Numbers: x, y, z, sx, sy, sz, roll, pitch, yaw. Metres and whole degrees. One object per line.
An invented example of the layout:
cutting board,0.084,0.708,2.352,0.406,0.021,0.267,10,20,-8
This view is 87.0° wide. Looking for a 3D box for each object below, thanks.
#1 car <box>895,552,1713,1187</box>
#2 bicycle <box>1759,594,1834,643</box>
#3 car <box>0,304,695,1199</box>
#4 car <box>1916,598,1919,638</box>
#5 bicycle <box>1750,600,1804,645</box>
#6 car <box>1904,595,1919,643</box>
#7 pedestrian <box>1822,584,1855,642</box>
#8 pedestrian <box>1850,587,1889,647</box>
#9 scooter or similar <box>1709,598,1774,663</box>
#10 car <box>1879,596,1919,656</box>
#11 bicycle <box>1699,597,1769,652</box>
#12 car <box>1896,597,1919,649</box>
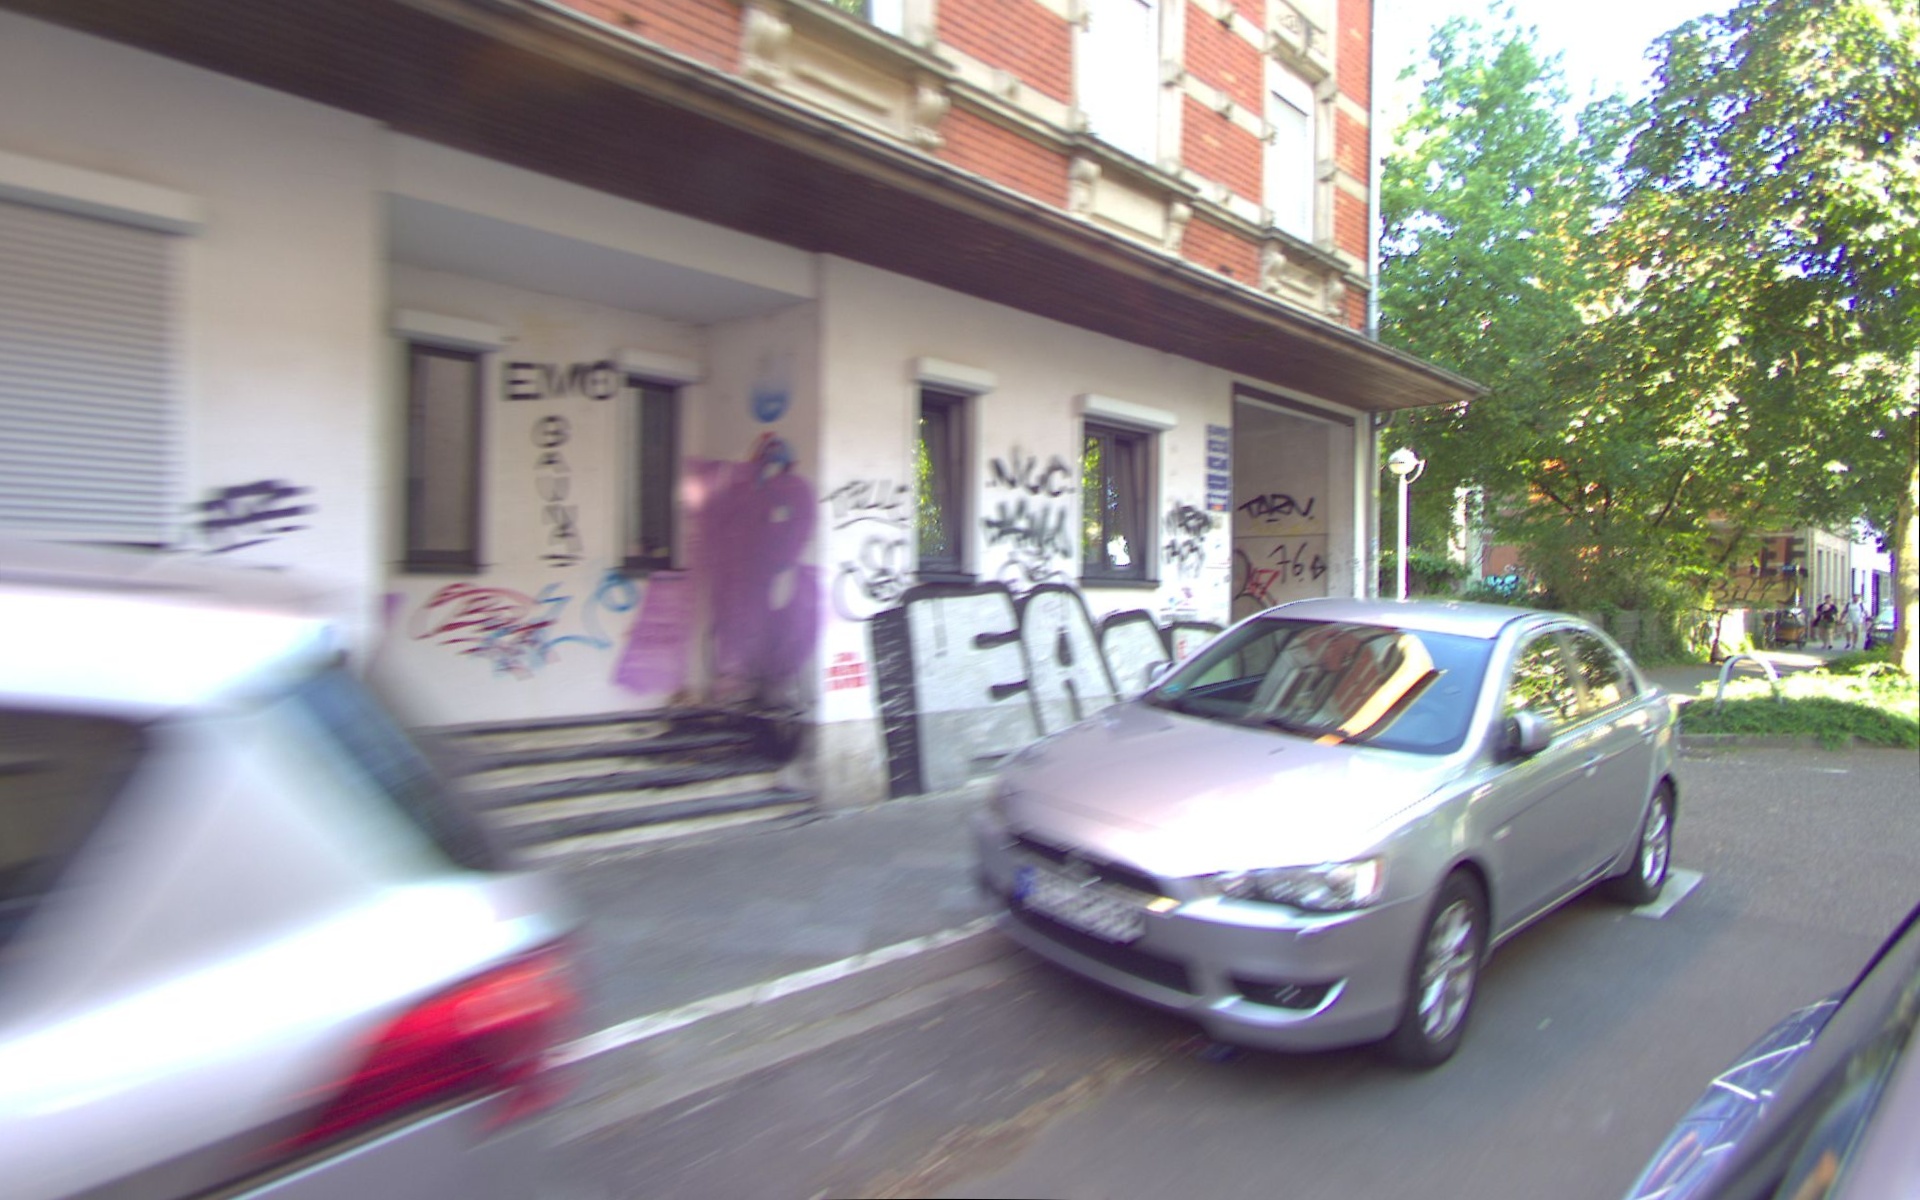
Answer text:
car,1.919,0.662,4.644,4.324,1.582,1.723,0,1,-43
bicycle,25.020,0.531,30.251,2.285,1.317,1.294,0,3,-40
car,-2.278,0.590,0.574,3.803,1.677,1.642,0,1,-42
car,36.863,0.686,37.746,1.594,1.468,3.938,4,3,45
bicycle,23.059,0.625,28.544,1.947,1.216,0.848,1,1,-41
car,33.756,0.657,34.793,3.700,1.605,1.595,0,2,-43
pedestrian,27.122,0.392,31.241,0.694,1.729,0.598,0,4,-43
pedestrian,27.636,0.503,30.750,0.739,1.729,0.711,0,4,-43
scooter or similar,16.655,0.625,21.599,0.539,1.277,1.466,2,2,16
car,26.583,0.696,27.764,4.341,1.512,1.723,0,2,-44
bicycle,19.063,0.584,24.910,2.645,1.283,0.848,1,1,-41
car,30.101,0.709,31.053,4.279,1.512,1.662,0,3,-43
